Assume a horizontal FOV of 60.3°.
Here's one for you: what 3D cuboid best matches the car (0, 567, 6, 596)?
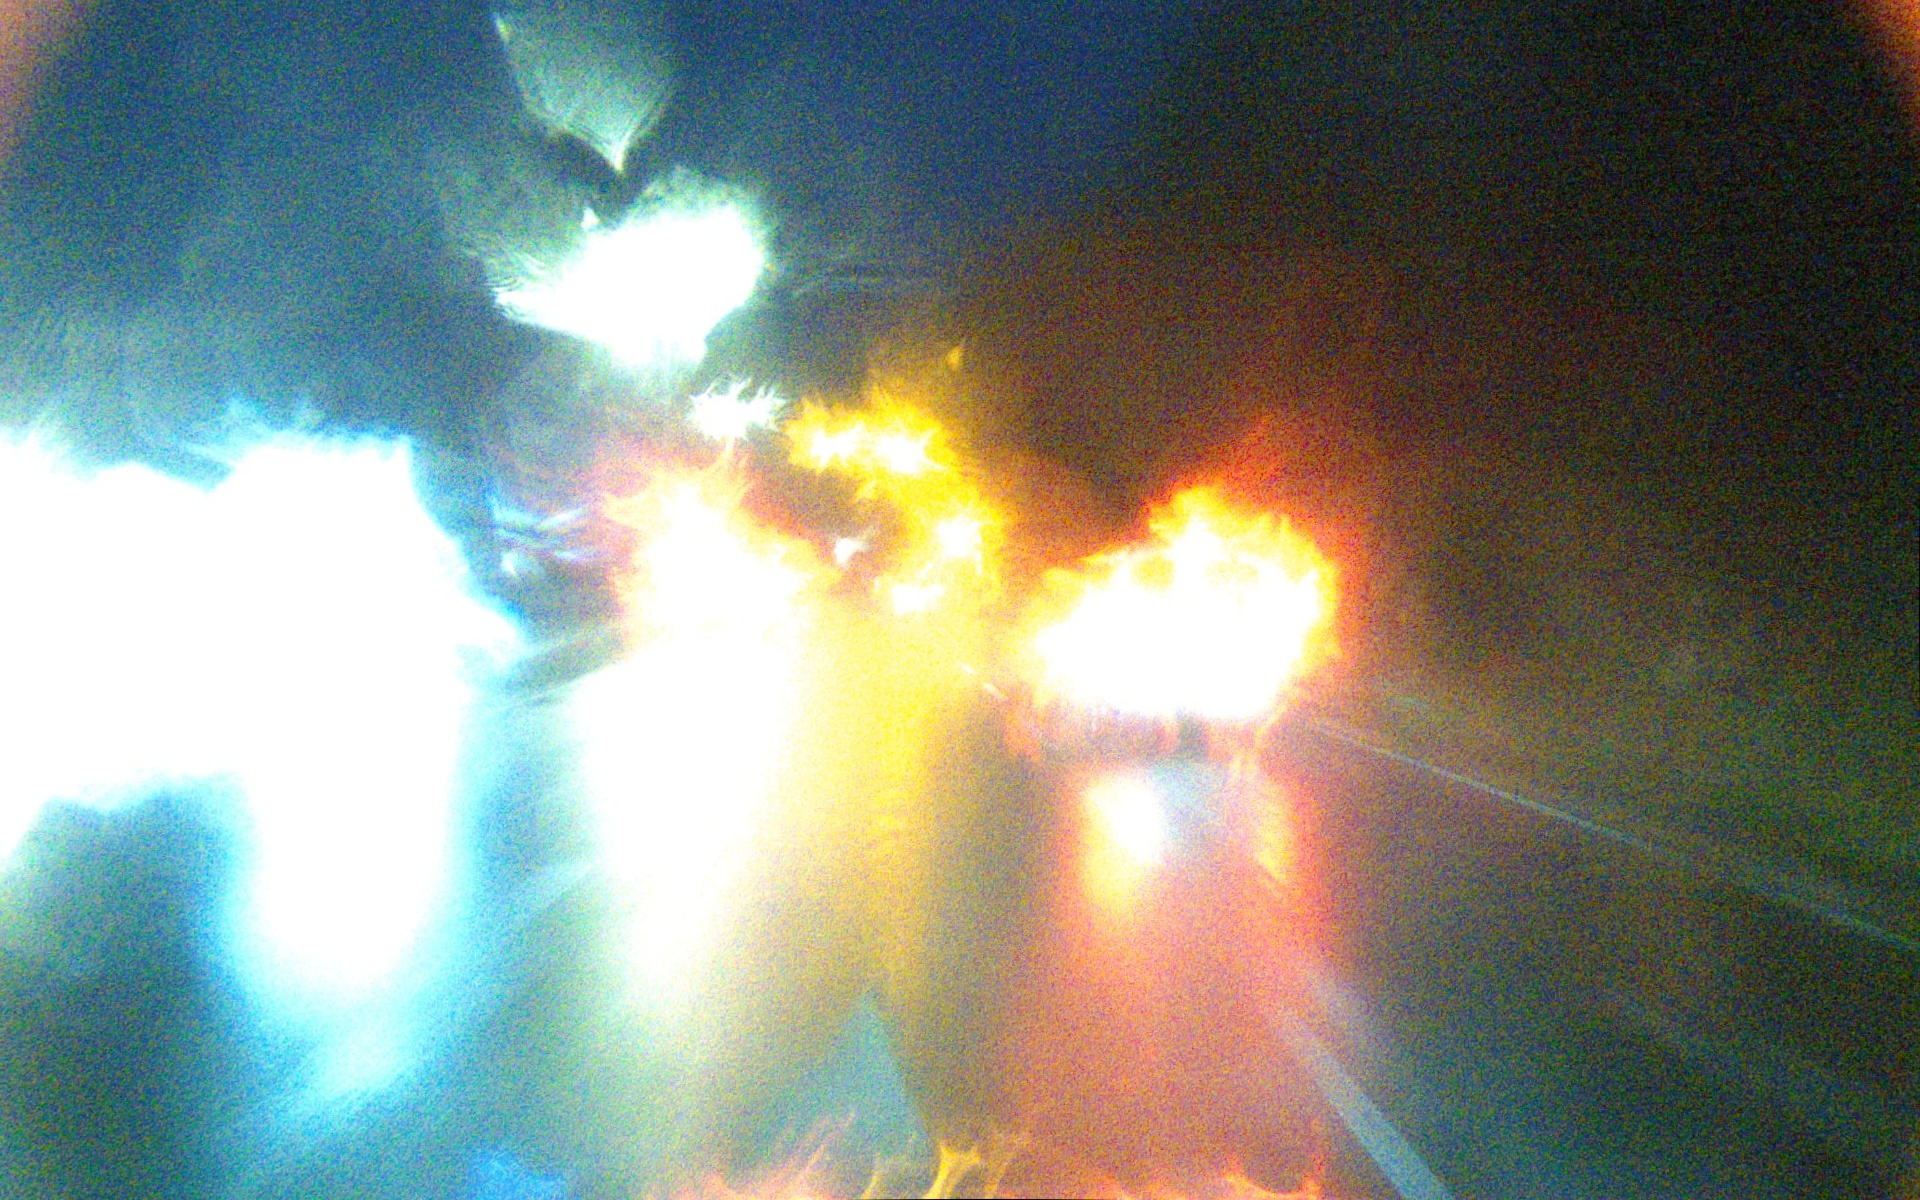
[{"bbox_3d":[-51.599,-0.976,86.934,1.695,1.545,3.980,1,0,-18],"label":"car"}]

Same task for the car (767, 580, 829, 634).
[{"bbox_3d":[-4.824,0.170,49.359,1.749,1.537,4.431,0,1,-6],"label":"car"}]

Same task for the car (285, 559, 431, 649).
[{"bbox_3d":[-12.237,0.057,33.903,1.727,1.670,4.646,2,0,-7],"label":"car"}]

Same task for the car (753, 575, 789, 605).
[{"bbox_3d":[-12.617,-0.636,110.569,1.954,1.746,3.998,5,-1,-2],"label":"car"}]

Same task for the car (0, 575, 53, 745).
[{"bbox_3d":[-9.874,0.536,14.617,1.767,1.616,4.026,2,0,-6],"label":"car"}]

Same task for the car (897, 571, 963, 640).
[{"bbox_3d":[-1.010,0.139,52.736,1.756,2.057,4.575,1,1,-5],"label":"car"}]

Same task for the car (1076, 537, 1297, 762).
[{"bbox_3d":[2.255,0.433,17.577,1.754,2.057,4.580,1,1,1],"label":"car"}]

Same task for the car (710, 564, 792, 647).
[{"bbox_3d":[-4.847,0.088,38.830,1.749,1.813,4.431,1,1,-5],"label":"car"}]
